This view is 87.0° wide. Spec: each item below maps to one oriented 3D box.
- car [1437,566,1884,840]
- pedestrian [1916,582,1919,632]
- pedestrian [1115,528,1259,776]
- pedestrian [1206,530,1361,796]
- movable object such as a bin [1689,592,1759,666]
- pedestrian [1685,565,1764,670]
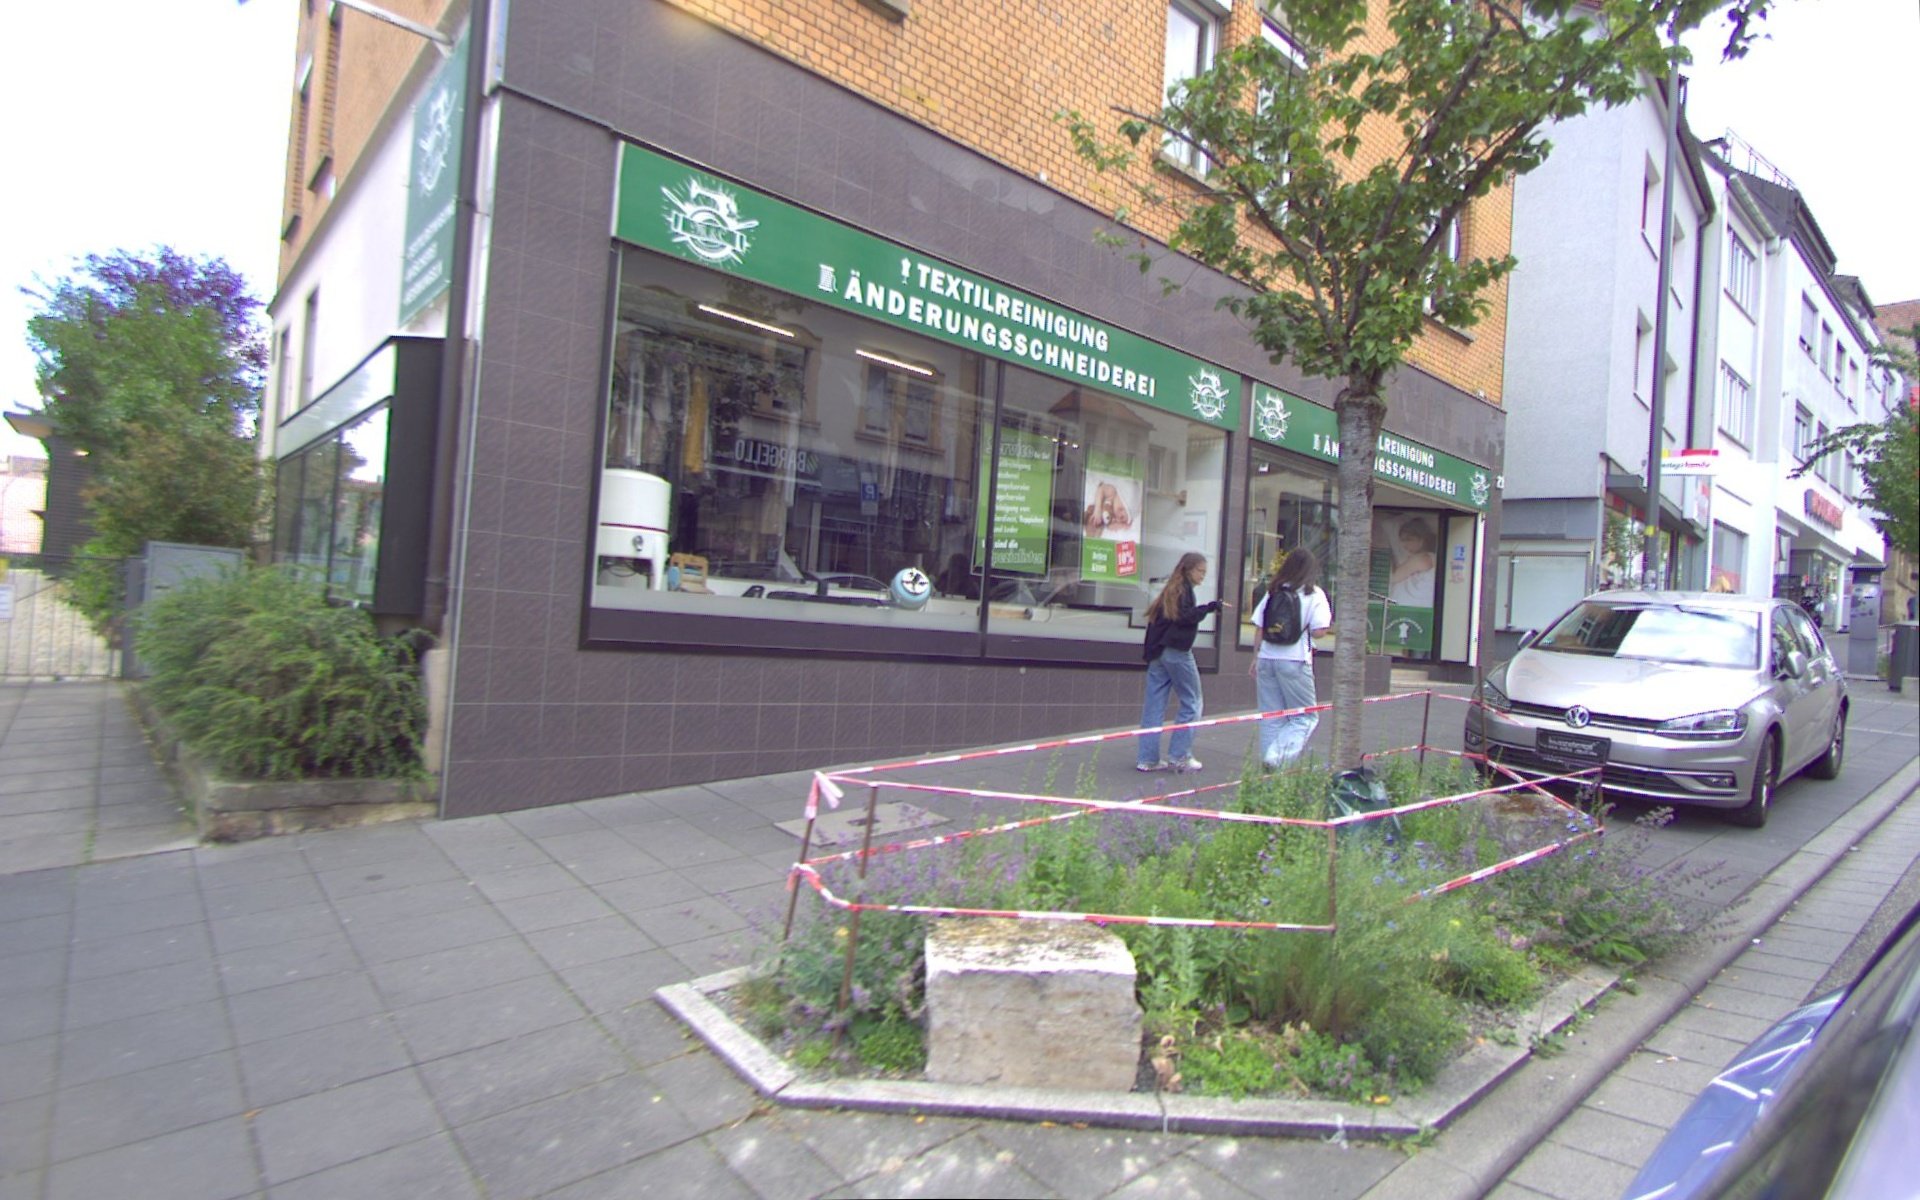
[{"bbox_3d":[5.471,0.563,7.714,4.002,1.483,1.753,0,4,-40],"label":"car"},{"bbox_3d":[30.709,0.247,31.881,0.804,1.580,0.757,1,1,-43],"label":"pedestrian"},{"bbox_3d":[1.618,0.334,7.236,0.658,1.652,0.673,0,3,-42],"label":"pedestrian"},{"bbox_3d":[2.160,0.380,6.777,0.658,1.652,0.673,0,3,-42],"label":"pedestrian"},{"bbox_3d":[12.992,0.472,17.213,0.891,1.172,0.723,0,3,-41],"label":"movable object such as a bin"},{"bbox_3d":[12.454,0.267,16.483,0.983,1.604,0.737,0,4,-41],"label":"pedestrian"}]
